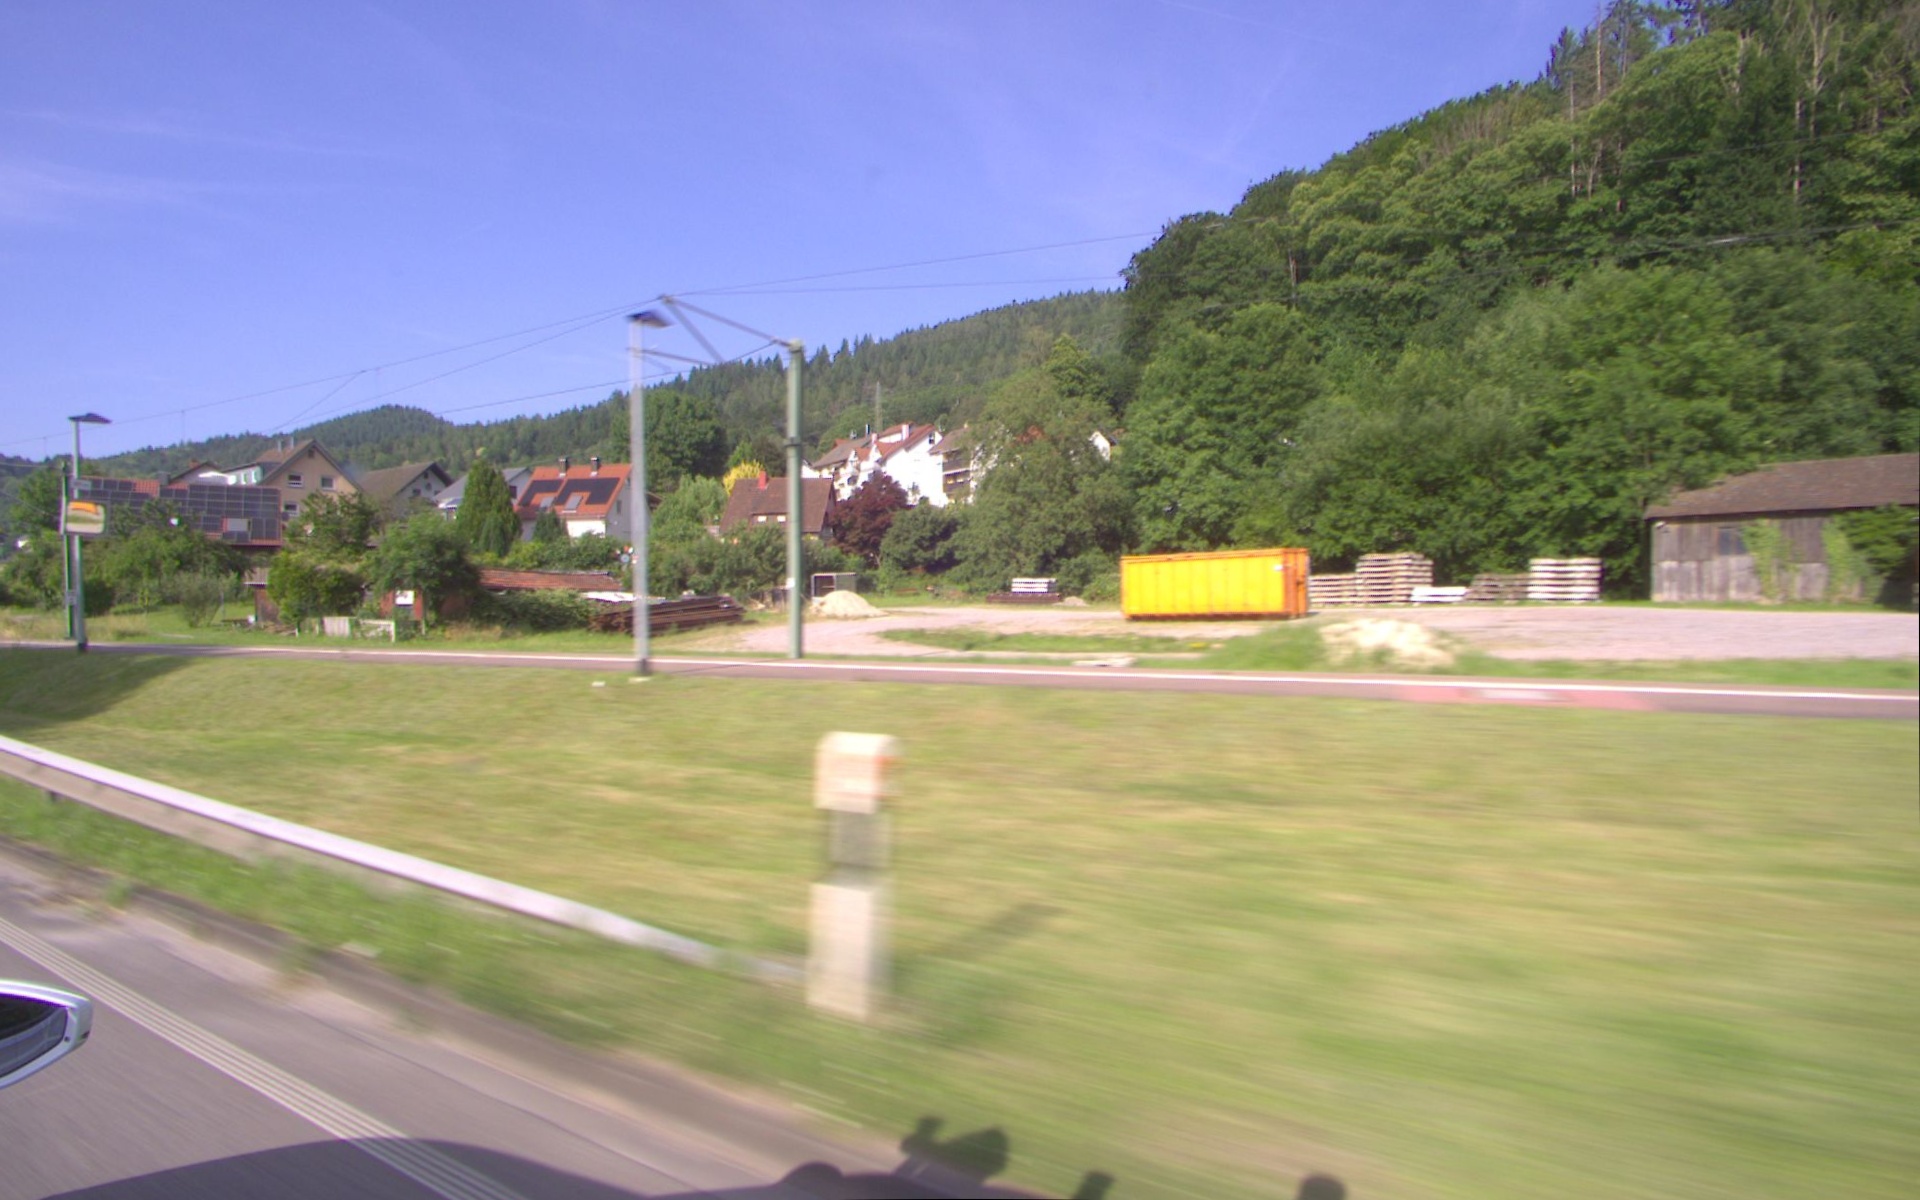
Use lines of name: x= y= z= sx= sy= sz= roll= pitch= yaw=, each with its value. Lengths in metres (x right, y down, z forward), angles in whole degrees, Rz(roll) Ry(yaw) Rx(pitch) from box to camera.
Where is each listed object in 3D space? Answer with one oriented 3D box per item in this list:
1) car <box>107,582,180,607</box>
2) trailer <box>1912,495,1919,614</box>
car: x=-58.430 y=-0.406 z=71.693 sx=3.954 sy=1.706 sz=1.983 roll=-1 pitch=1 yaw=-40
trailer: x=35.380 y=-1.561 z=31.581 sx=7.648 sy=3.946 sz=2.592 roll=0 pitch=1 yaw=43
